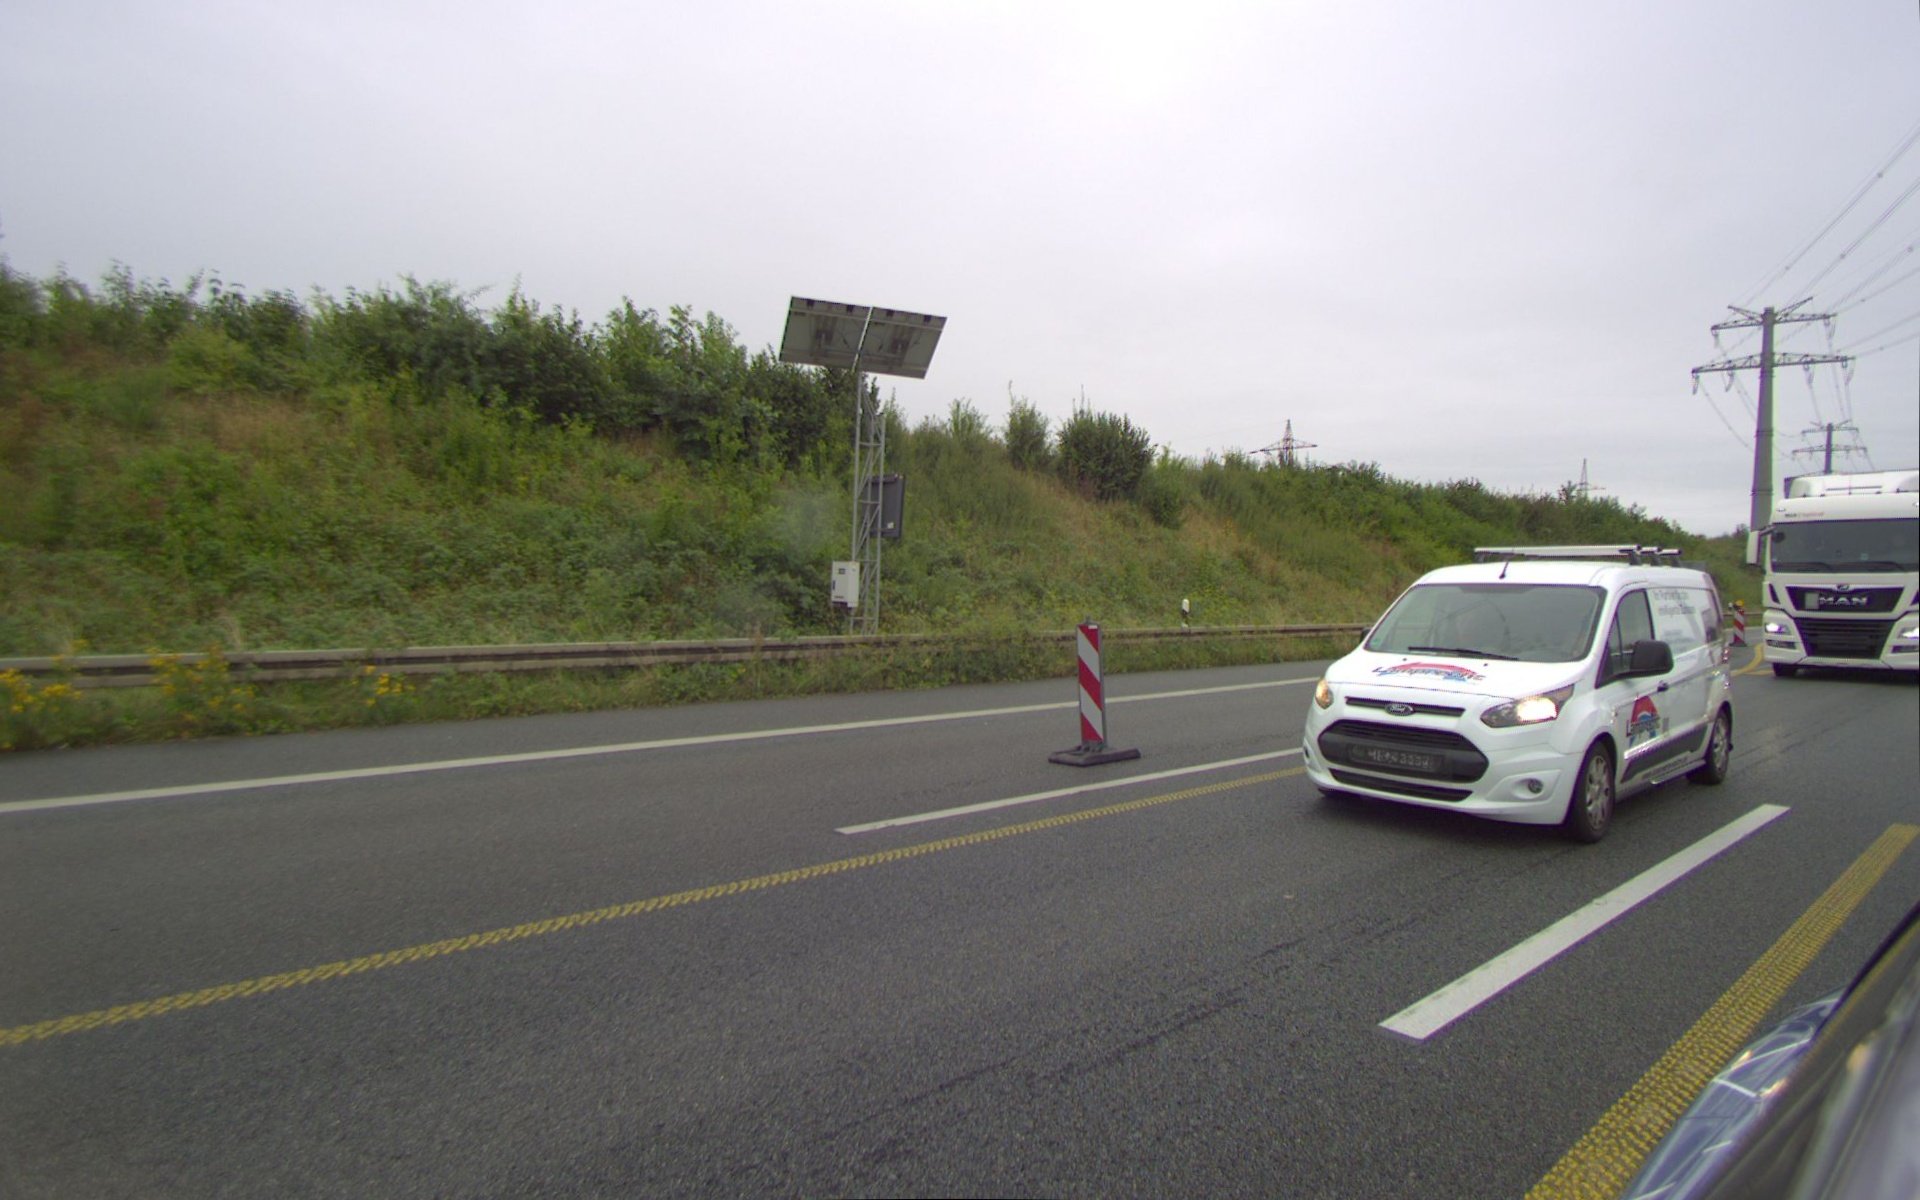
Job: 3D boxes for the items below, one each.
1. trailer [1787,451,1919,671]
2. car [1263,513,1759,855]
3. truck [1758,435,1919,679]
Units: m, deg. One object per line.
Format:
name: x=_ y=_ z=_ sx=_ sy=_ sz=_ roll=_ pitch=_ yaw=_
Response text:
trailer: x=22.999 y=-0.773 z=24.196 sx=13.491 sy=4.198 sz=2.711 roll=0 pitch=1 yaw=-41
car: x=4.394 y=0.439 z=7.709 sx=4.574 sy=1.862 sz=1.832 roll=0 pitch=1 yaw=-41
truck: x=18.060 y=-0.760 z=19.892 sx=5.591 sy=4.191 sz=2.711 roll=0 pitch=1 yaw=-41
